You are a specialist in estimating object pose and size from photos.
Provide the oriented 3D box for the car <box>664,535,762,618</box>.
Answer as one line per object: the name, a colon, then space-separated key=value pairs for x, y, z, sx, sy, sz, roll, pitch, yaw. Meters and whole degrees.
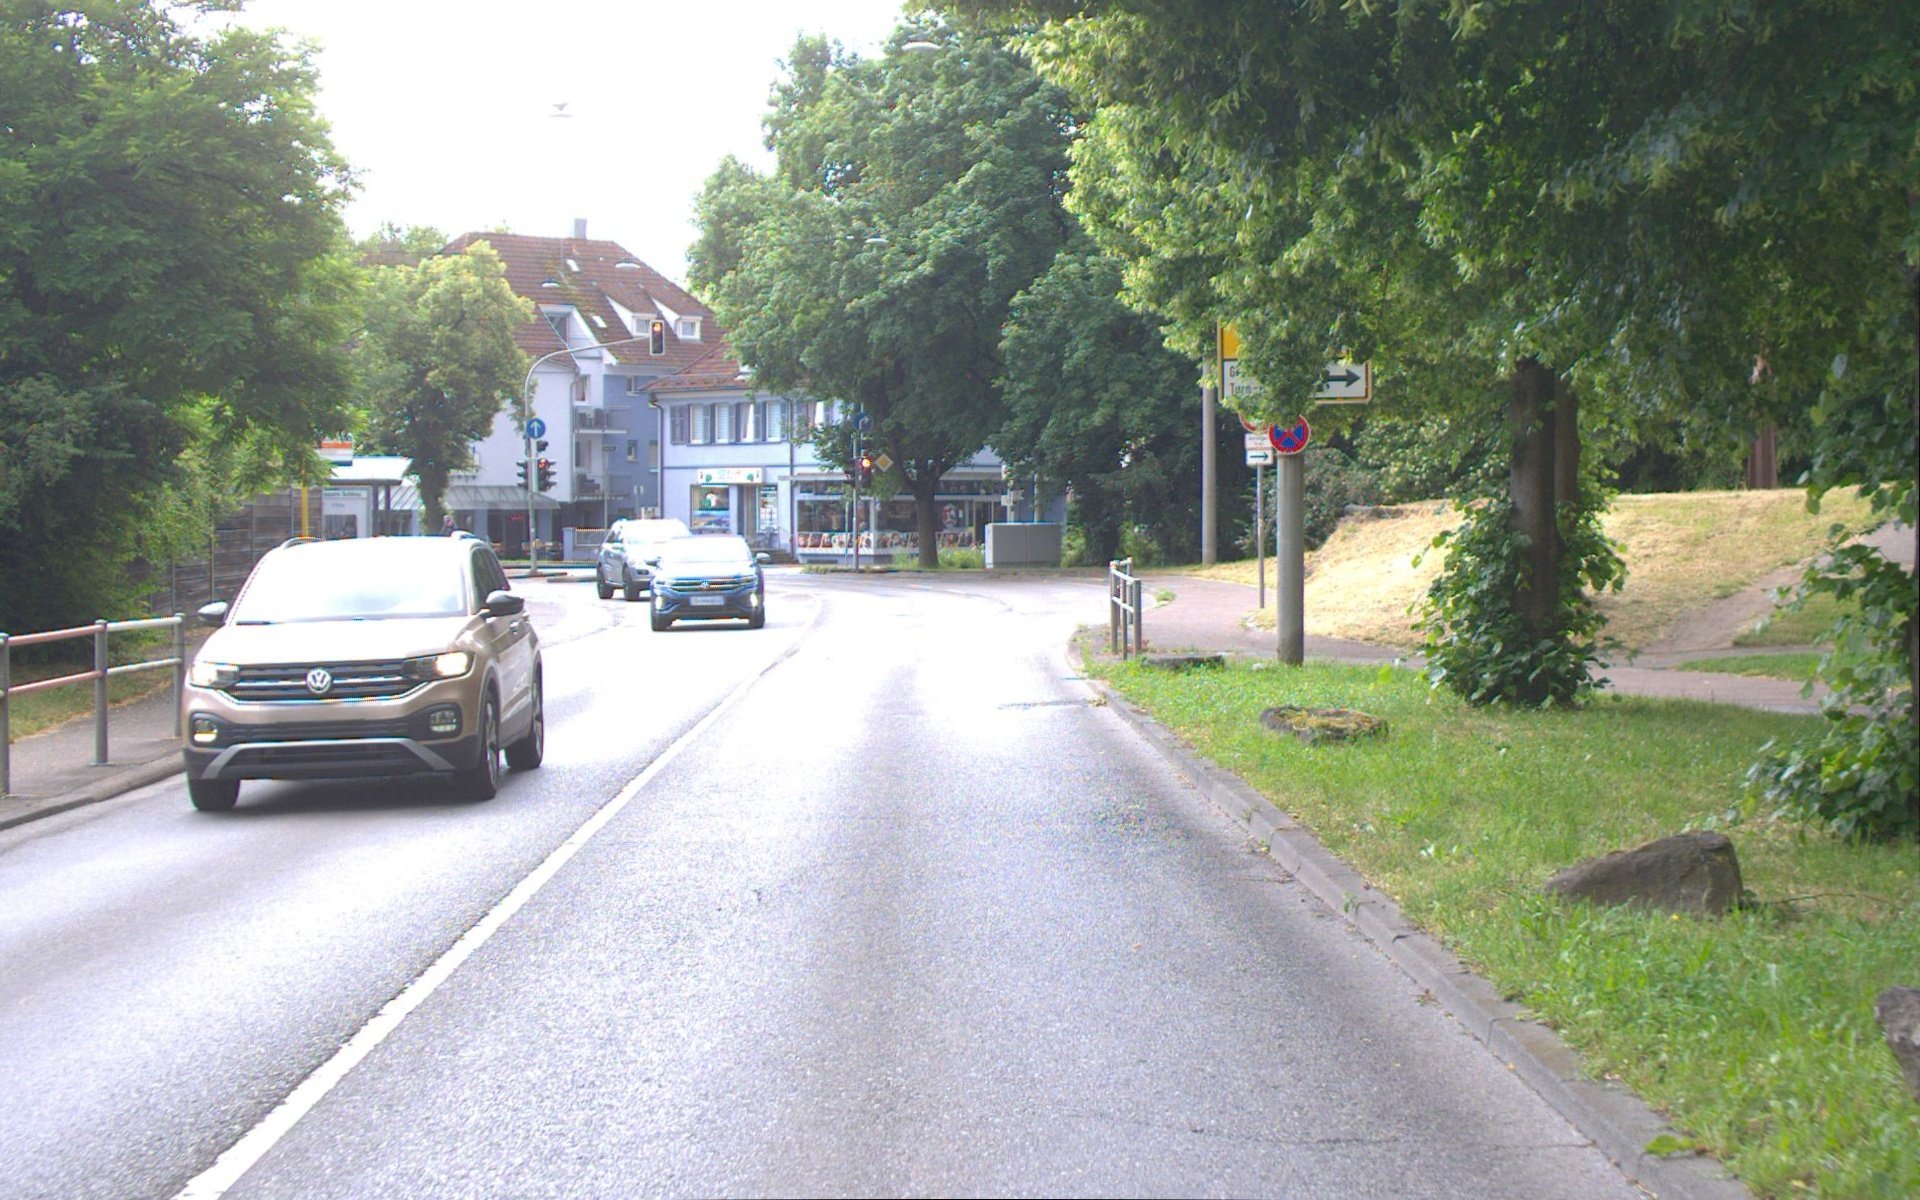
car: x=-5.439 y=-0.549 z=76.209 sx=1.935 sy=1.718 sz=4.692 roll=-1 pitch=1 yaw=-2

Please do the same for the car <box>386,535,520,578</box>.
car: x=-19.361 y=-1.681 z=131.341 sx=4.580 sy=1.512 sz=1.999 roll=-1 pitch=1 yaw=14

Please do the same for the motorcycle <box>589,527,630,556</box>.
motorcycle: x=-14.373 y=-2.394 z=140.908 sx=1.496 sy=1.103 sz=0.560 roll=-2 pitch=6 yaw=13

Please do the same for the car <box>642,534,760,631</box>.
car: x=-4.174 y=-0.314 z=55.848 sx=1.716 sy=1.463 sz=4.100 roll=-1 pitch=1 yaw=-2

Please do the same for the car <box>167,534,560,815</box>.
car: x=-3.547 y=0.380 z=21.106 sx=1.704 sy=1.506 sz=4.000 roll=-2 pitch=1 yaw=-1
